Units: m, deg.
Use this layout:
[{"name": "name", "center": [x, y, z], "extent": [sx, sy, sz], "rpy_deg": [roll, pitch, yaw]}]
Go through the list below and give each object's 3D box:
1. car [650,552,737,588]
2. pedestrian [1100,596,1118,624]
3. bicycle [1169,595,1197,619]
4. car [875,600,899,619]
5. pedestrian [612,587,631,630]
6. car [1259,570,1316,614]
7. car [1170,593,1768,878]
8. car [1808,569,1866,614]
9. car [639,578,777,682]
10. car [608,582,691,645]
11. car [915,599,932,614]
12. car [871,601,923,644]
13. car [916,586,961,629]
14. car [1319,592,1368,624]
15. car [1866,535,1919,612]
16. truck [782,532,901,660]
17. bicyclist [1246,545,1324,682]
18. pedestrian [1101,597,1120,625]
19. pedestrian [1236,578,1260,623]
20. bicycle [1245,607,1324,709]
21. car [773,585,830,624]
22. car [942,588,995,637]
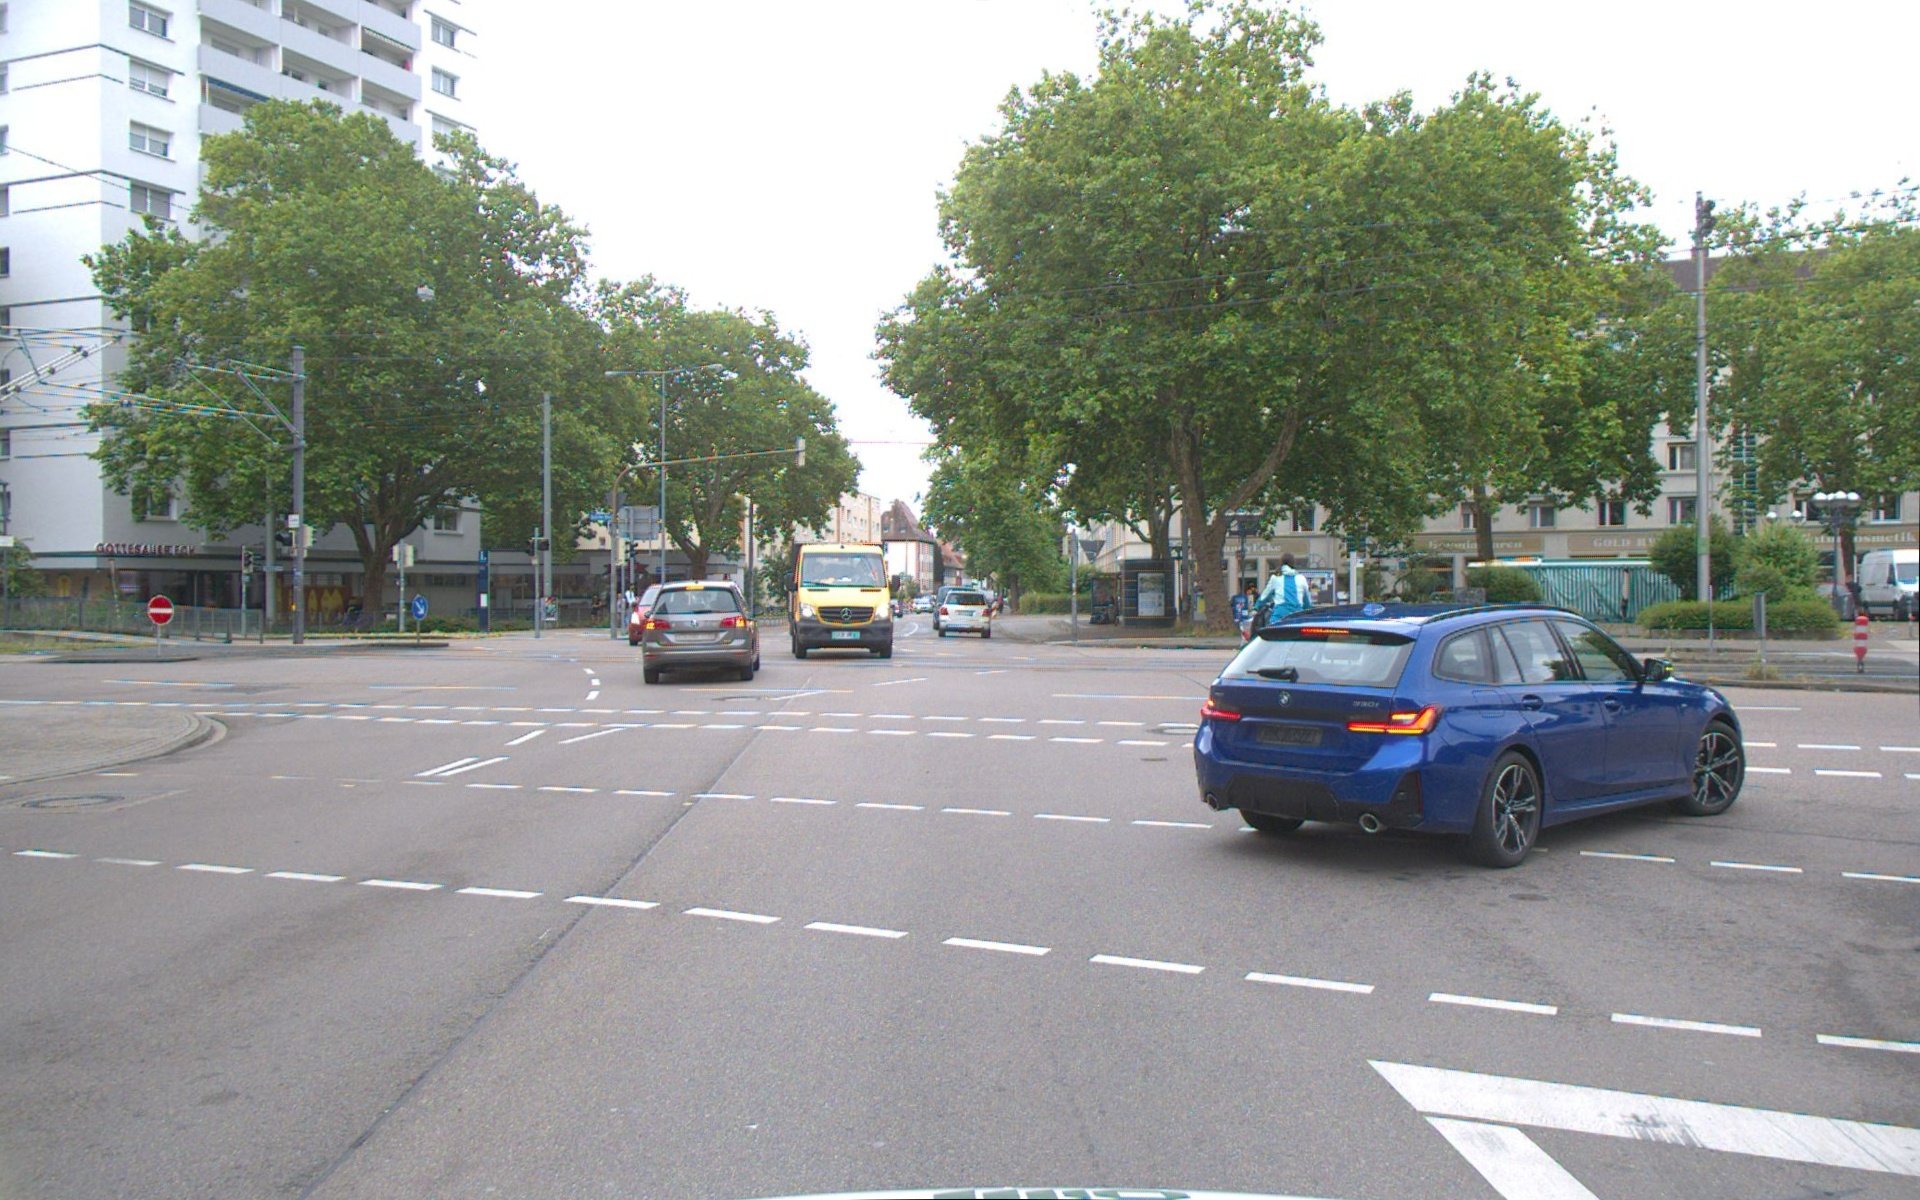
[{"name": "car", "center": [-13.461, -1.488, 83.685], "extent": [3.944, 1.736, 1.980], "rpy_deg": [0, -1, -30]}, {"name": "pedestrian", "center": [7.386, 0.506, 81.982], "extent": [0.801, 1.396, 0.762], "rpy_deg": [-1, 0, -1]}, {"name": "bicycle", "center": [11.239, 0.335, 83.270], "extent": [0.762, 1.188, 2.332], "rpy_deg": [-1, 0, 24]}, {"name": "car", "center": [-6.000, 0.763, 135.910], "extent": [1.815, 1.478, 4.167], "rpy_deg": [0, 0, -1]}, {"name": "pedestrian", "center": [-14.359, 0.368, 70.165], "extent": [0.562, 1.816, 0.620], "rpy_deg": [-1, 0, 7]}, {"name": "car", "center": [17.063, -0.415, 86.037], "extent": [2.130, 2.239, 3.999], "rpy_deg": [-1, 0, 23]}, {"name": "car", "center": [3.427, 0.696, 10.676], "extent": [4.284, 1.430, 1.793], "rpy_deg": [-1, 0, -43]}, {"name": "car", "center": [31.580, -0.316, 59.620], "extent": [1.631, 1.542, 3.936], "rpy_deg": [0, 0, 25]}, {"name": "car", "center": [-4.055, 0.447, 27.188], "extent": [1.697, 1.551, 3.999], "rpy_deg": [-1, 0, -1]}, {"name": "car", "center": [-8.125, 0.320, 43.525], "extent": [1.698, 1.551, 3.997], "rpy_deg": [-1, 0, -4]}, {"name": "car", "center": [-3.941, 0.685, 176.814], "extent": [1.731, 1.512, 4.000], "rpy_deg": [-1, 0, 0]}, {"name": "car", "center": [-2.248, 0.794, 59.814], "extent": [1.772, 1.452, 4.316], "rpy_deg": [-1, 0, -1]}, {"name": "car", "center": [-1.005, 0.330, 75.840], "extent": [1.953, 1.880, 3.998], "rpy_deg": [-1, 0, -2]}, {"name": "car", "center": [19.723, 0.386, 84.946], "extent": [1.760, 1.570, 3.825], "rpy_deg": [-1, 0, 24]}, {"name": "car", "center": [34.324, -0.945, 59.716], "extent": [2.189, 2.685, 5.446], "rpy_deg": [0, 0, 22]}, {"name": "truck", "center": [-2.591, -0.096, 34.842], "extent": [2.036, 2.450, 5.451], "rpy_deg": [-1, 0, -9]}, {"name": "bicyclist", "center": [3.771, 0.146, 19.270], "extent": [0.672, 1.544, 1.058], "rpy_deg": [-1, 0, -1]}, {"name": "pedestrian", "center": [7.397, 0.534, 81.128], "extent": [0.835, 1.337, 0.762], "rpy_deg": [-1, 0, -1]}, {"name": "pedestrian", "center": [11.625, 0.016, 66.818], "extent": [0.768, 1.774, 0.925], "rpy_deg": [-1, 0, -2]}, {"name": "bicycle", "center": [3.850, 0.657, 19.729], "extent": [0.484, 1.117, 2.138], "rpy_deg": [-1, 0, -1]}, {"name": "car", "center": [-7.785, 0.209, 81.803], "extent": [1.827, 1.858, 5.229], "rpy_deg": [-1, 0, 6]}, {"name": "car", "center": [0.268, 0.413, 58.354], "extent": [1.778, 1.620, 3.999], "rpy_deg": [-1, 0, -1]}]
